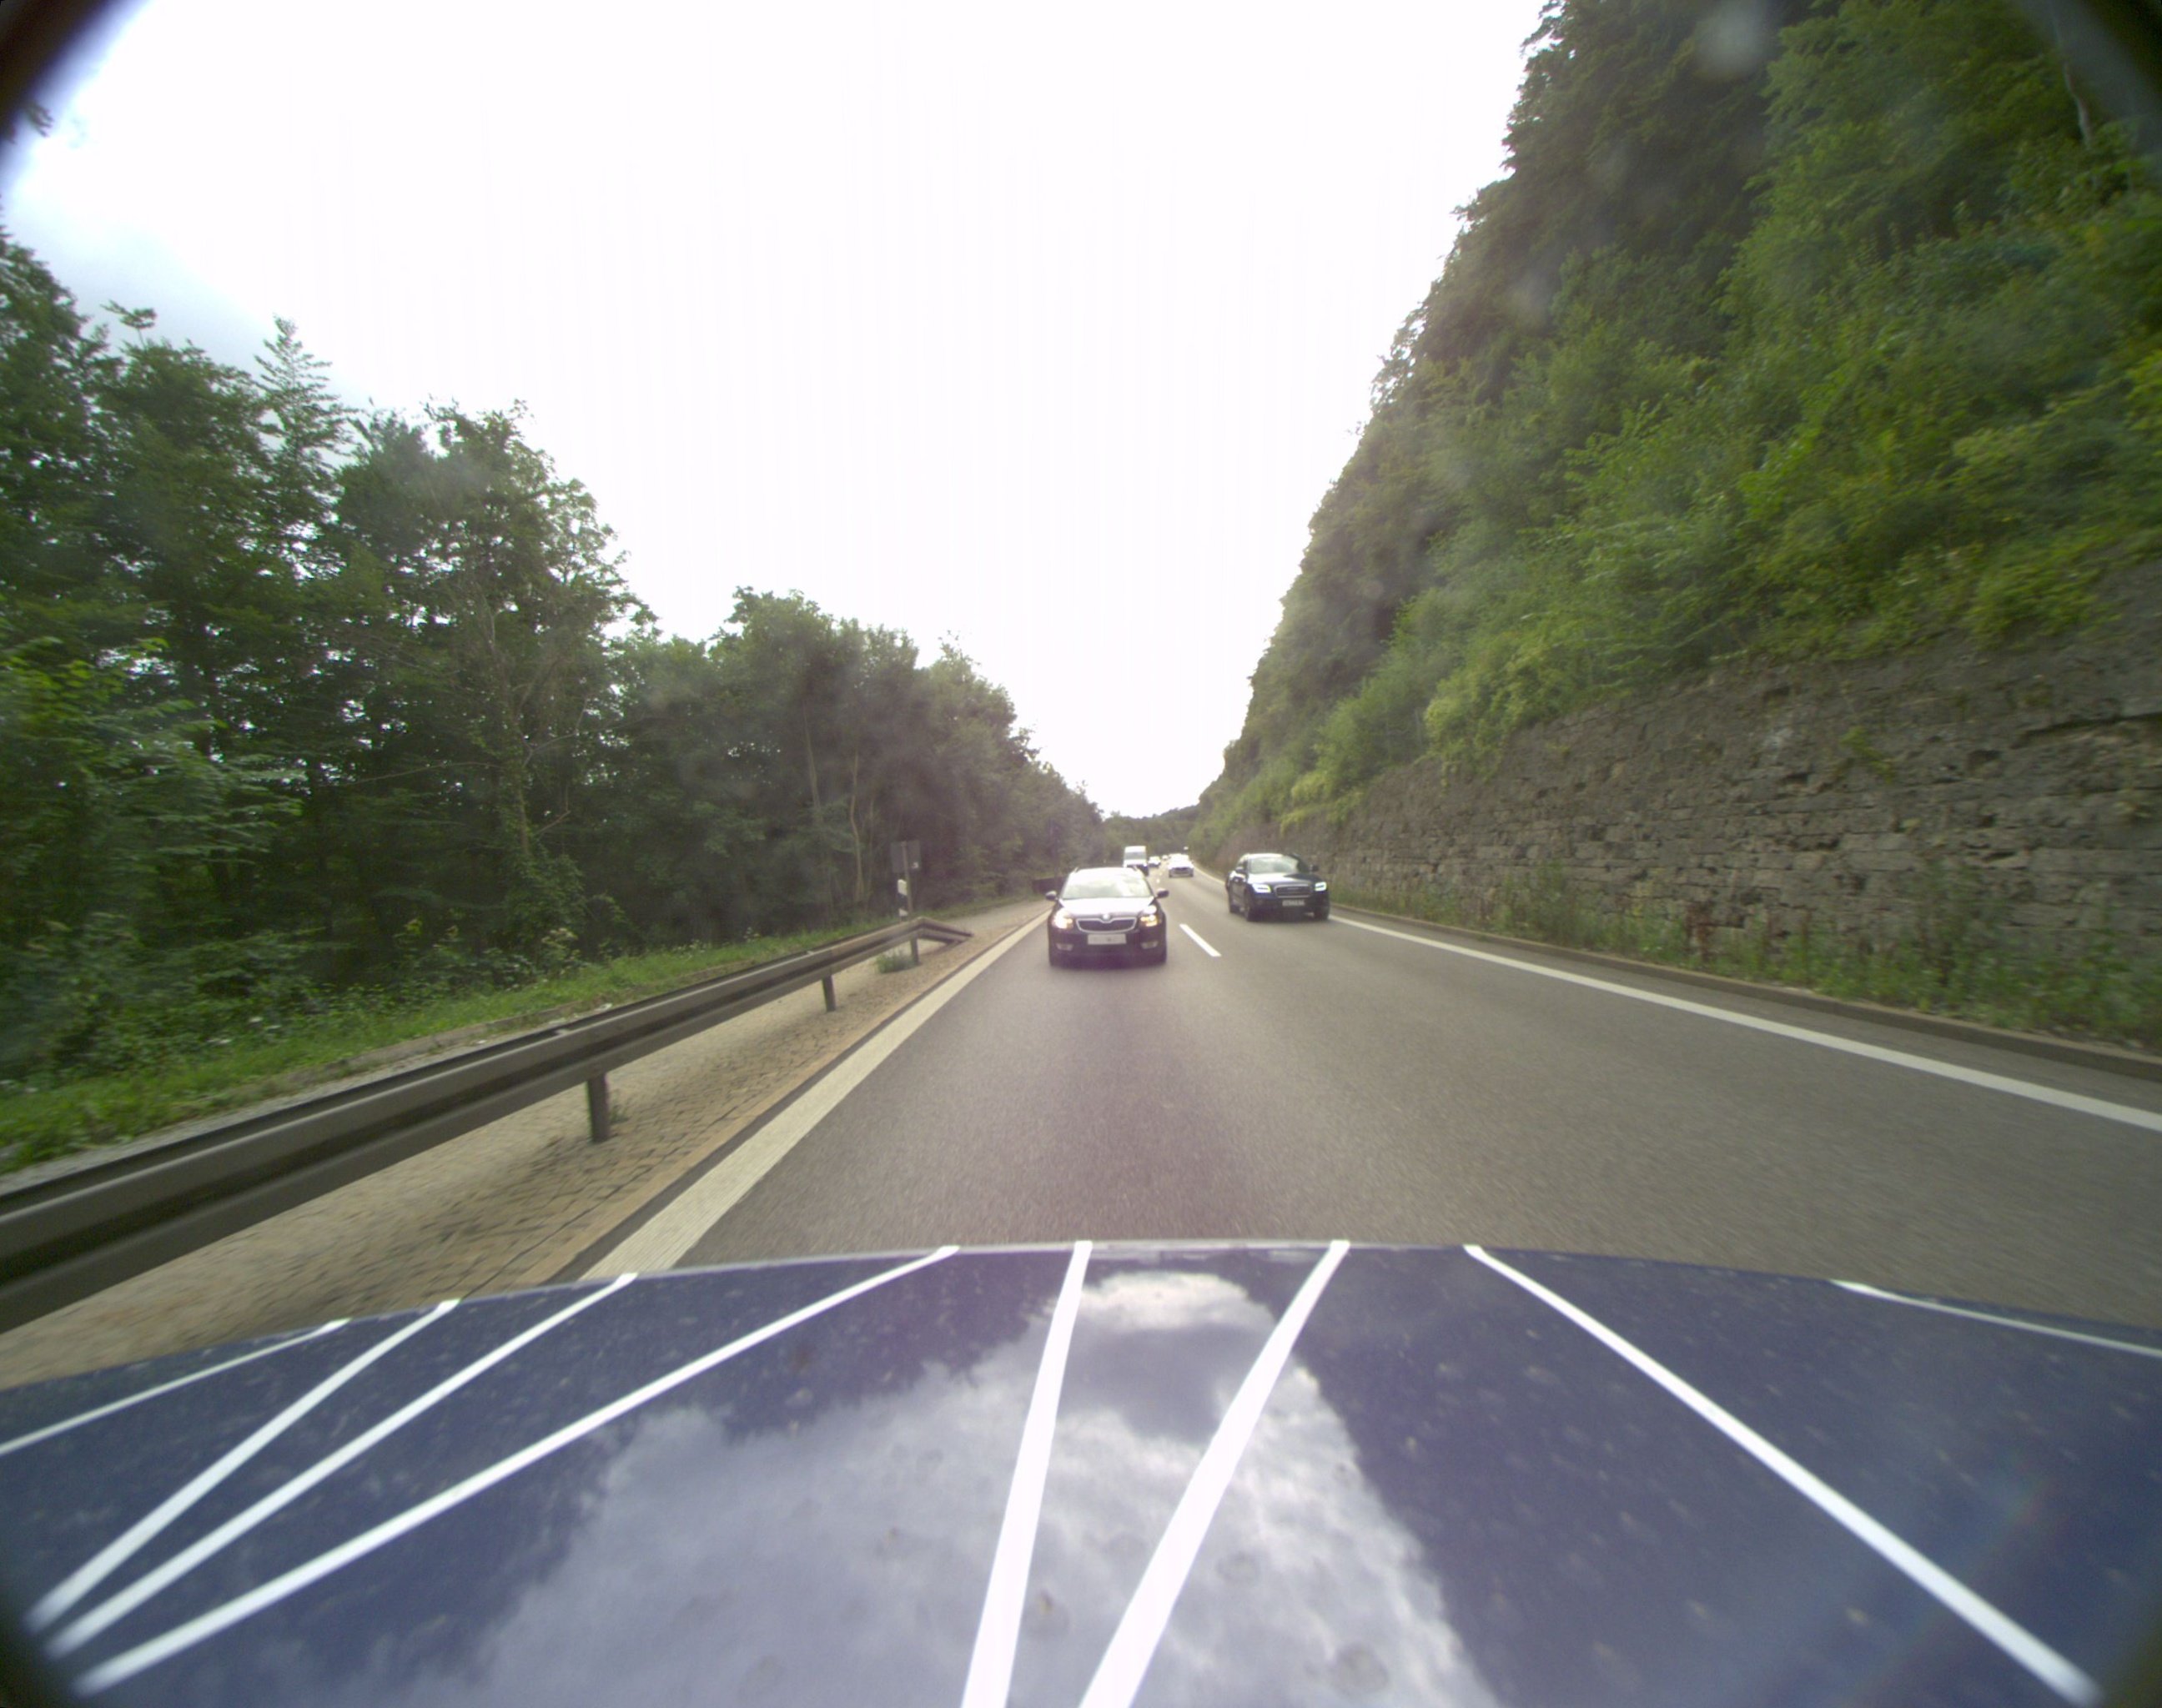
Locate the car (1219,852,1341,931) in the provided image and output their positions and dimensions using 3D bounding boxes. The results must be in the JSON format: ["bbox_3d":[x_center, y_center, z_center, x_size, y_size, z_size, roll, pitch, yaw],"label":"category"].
[{"bbox_3d":[4.998,0.843,19.950,1.975,1.584,5.586,-4,1,4],"label":"car"}]

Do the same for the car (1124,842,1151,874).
[{"bbox_3d":[4.905,0.373,65.797,2.098,2.547,5.923,-1,-1,6],"label":"car"}]

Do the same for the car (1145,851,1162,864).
[{"bbox_3d":[9.345,0.437,98.035,1.822,1.546,4.003,-2,-1,9],"label":"car"}]

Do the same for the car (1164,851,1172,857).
[{"bbox_3d":[23.569,0.004,205.827,1.822,1.546,4.004,-2,-1,9],"label":"car"}]

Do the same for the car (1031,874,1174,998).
[{"bbox_3d":[0.349,1.019,11.112,1.638,1.384,4.500,-1,-1,2],"label":"car"}]

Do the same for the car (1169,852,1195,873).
[{"bbox_3d":[7.689,0.658,57.788,1.822,1.546,4.003,-2,-1,8],"label":"car"}]
